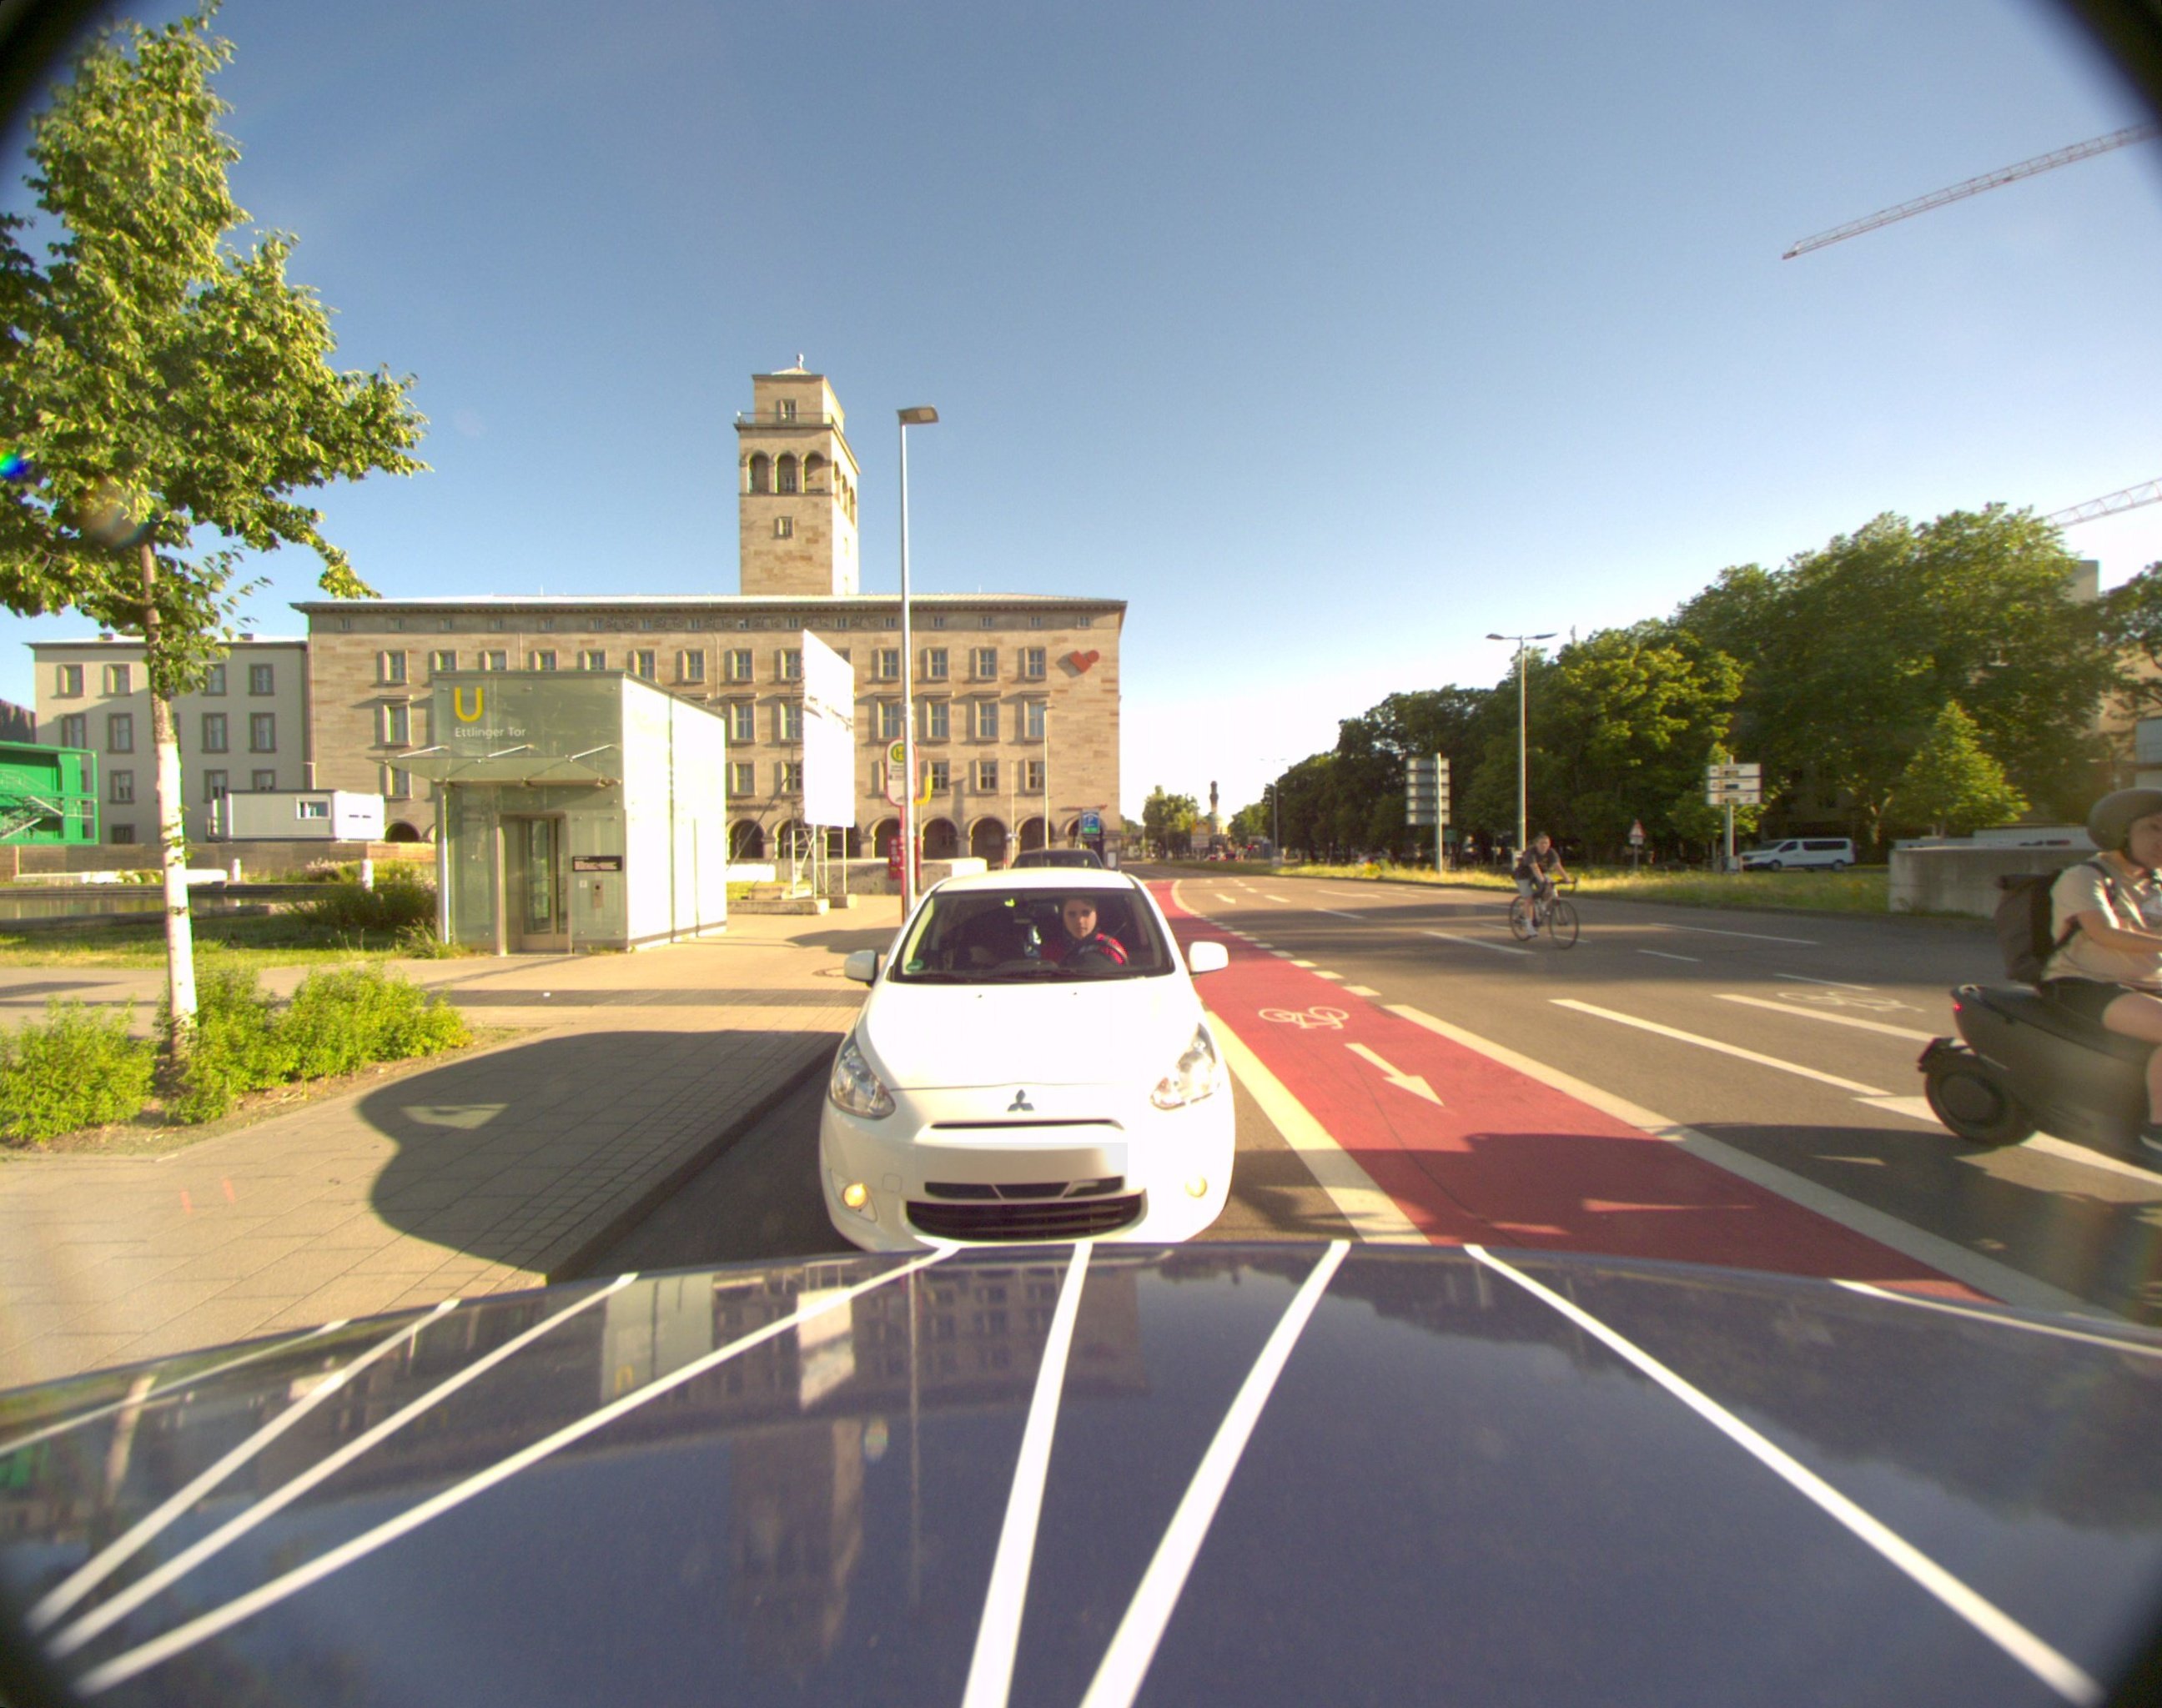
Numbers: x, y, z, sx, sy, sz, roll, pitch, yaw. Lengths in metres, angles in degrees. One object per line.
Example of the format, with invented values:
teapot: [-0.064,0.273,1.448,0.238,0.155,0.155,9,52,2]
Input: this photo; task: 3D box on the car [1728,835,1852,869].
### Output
car: [41.948,-0.122,45.056,5.325,1.880,2.000,-1,0,2]

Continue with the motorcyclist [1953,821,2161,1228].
motorcyclist: [4.301,0.609,2.977,0.756,1.475,0.882,-1,1,5]

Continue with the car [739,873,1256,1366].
car: [-0.251,0.940,4.517,1.660,1.463,3.969,-3,0,1]

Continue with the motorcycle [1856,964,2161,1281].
motorcycle: [4.308,1.058,2.922,0.756,0.963,1.960,-1,0,5]

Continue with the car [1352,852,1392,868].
car: [22.424,0.422,58.684,1.618,1.126,3.770,-2,0,-1]

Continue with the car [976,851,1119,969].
car: [-0.487,0.784,13.140,1.999,1.652,4.791,-1,0,0]

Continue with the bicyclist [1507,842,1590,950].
bicyclist: [6.776,0.587,11.061,0.624,1.494,0.938,-2,1,2]

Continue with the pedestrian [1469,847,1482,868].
pedestrian: [32.183,0.267,62.024,0.664,1.716,0.698,-1,1,0]

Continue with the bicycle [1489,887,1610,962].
bicycle: [6.787,0.983,11.124,0.624,0.903,1.910,-2,0,2]

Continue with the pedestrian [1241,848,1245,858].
pedestrian: [32.469,-0.293,152.461,0.525,2.002,0.594,-1,1,-2]

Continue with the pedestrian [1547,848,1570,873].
pedestrian: [33.708,0.451,53.674,0.997,1.773,0.964,-2,1,1]

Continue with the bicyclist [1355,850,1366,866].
bicyclist: [24.166,0.341,65.709,0.617,1.359,0.768,-1,1,1]
